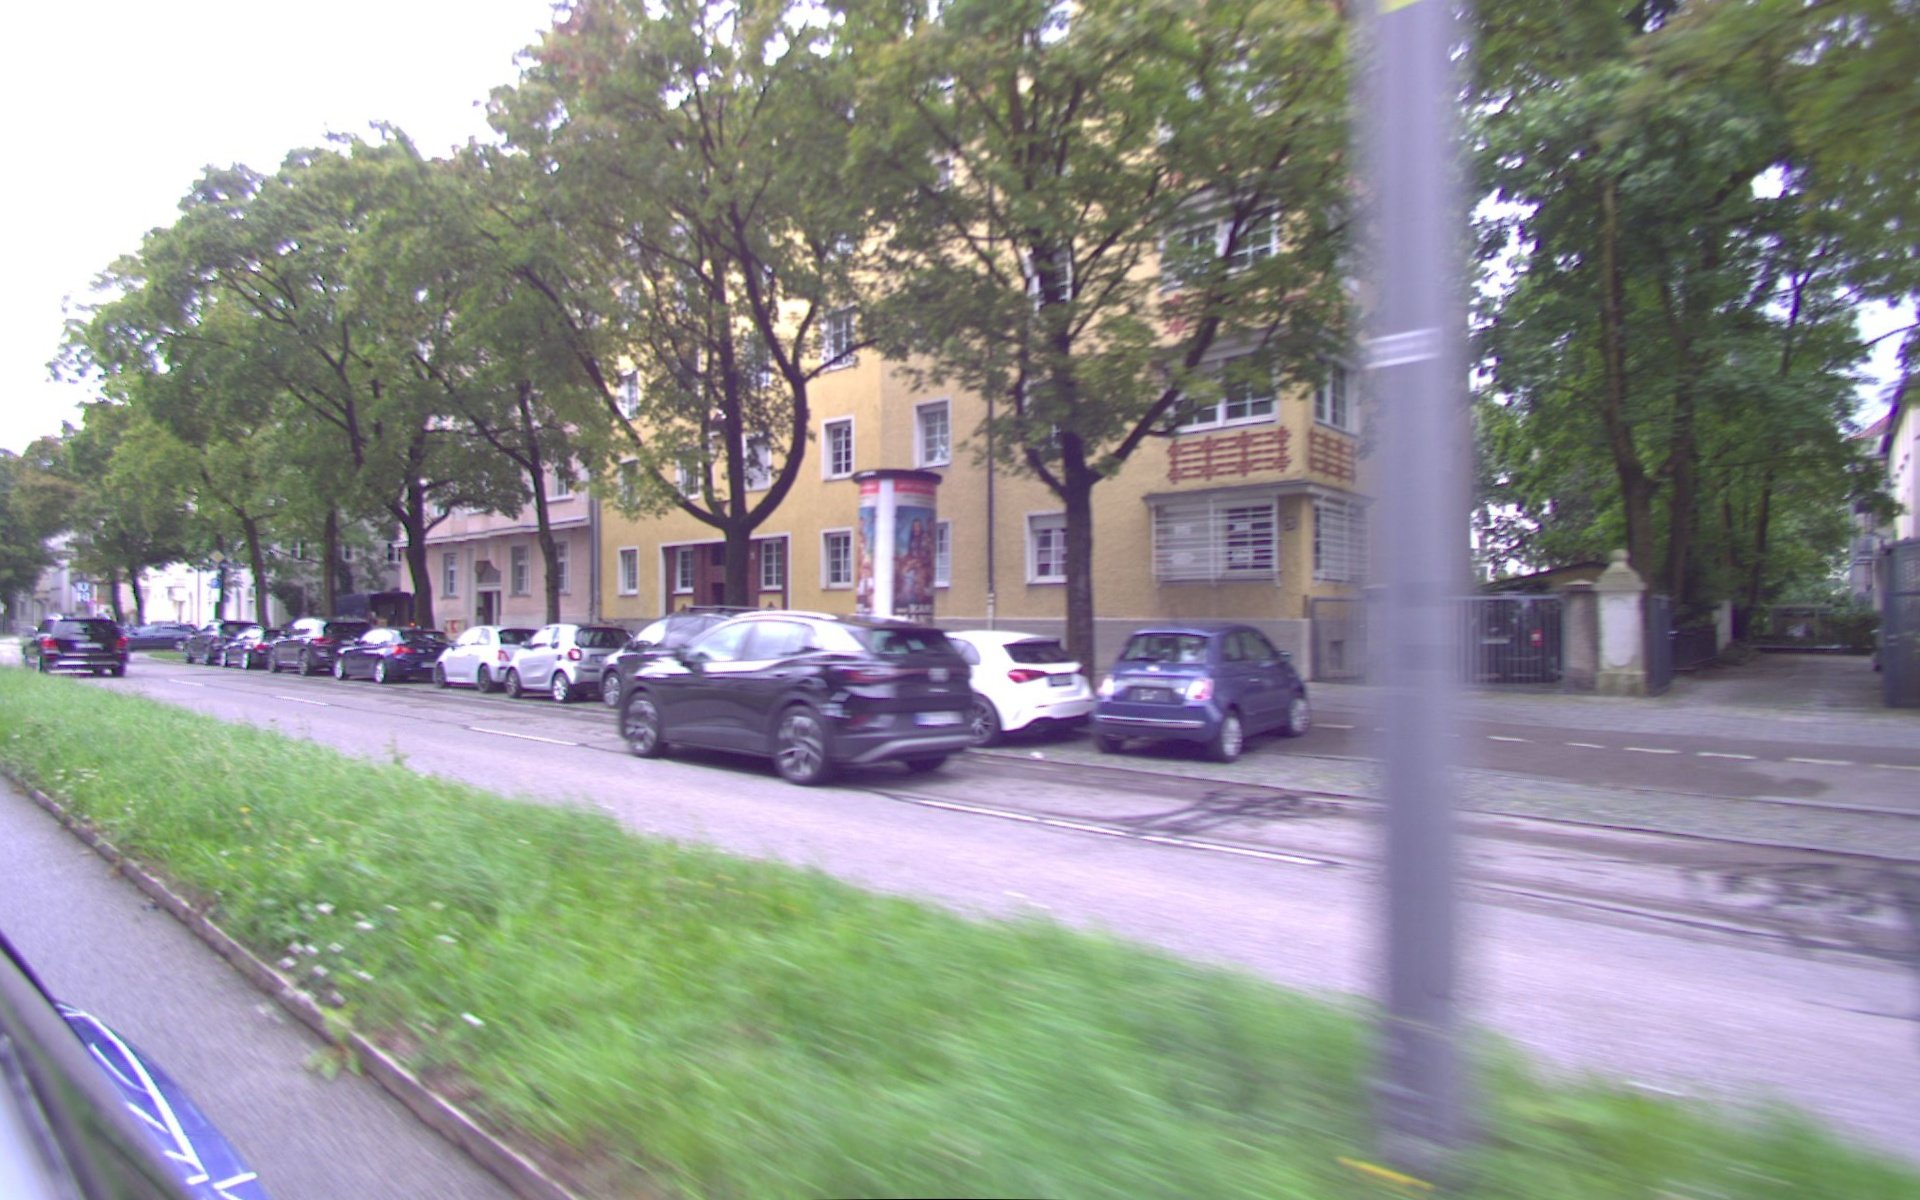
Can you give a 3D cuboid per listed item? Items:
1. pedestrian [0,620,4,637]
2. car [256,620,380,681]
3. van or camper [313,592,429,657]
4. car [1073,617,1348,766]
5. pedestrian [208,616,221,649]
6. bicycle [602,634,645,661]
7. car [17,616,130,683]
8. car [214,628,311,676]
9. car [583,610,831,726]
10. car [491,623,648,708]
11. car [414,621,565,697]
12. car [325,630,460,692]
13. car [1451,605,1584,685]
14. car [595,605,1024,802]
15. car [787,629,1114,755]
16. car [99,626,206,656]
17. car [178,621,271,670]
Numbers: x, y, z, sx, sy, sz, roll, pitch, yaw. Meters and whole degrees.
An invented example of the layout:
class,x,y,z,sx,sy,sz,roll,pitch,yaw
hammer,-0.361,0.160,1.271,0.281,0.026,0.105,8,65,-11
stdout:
class,x,y,z,sx,sy,sz,roll,pitch,yaw
pedestrian,-115.378,3.415,121.550,0.631,2.058,0.739,0,-1,-38
car,-19.066,1.433,29.958,4.768,1.658,1.859,-1,-1,41
van or camper,-25.520,1.050,43.706,6.848,2.599,2.321,-1,-1,41
car,3.147,0.960,12.205,1.731,1.475,3.850,-1,-1,40
pedestrian,-47.349,2.074,64.303,0.590,2.075,0.686,0,-2,-29
bicycle,-11.662,1.628,35.055,1.930,0.906,0.536,-1,-2,41
car,-24.433,1.332,27.830,4.367,1.692,1.751,-1,-3,41
car,-23.473,1.692,34.008,4.490,1.465,1.674,-1,-1,41
car,-4.486,1.070,17.472,4.765,1.741,1.791,-1,-2,41
car,-7.890,1.256,20.385,3.007,1.569,1.709,-1,-1,39
car,-10.898,1.294,23.334,4.055,1.573,1.708,-1,-1,41
car,-14.686,1.508,26.076,4.361,1.416,1.708,-1,-1,41
car,11.781,0.882,21.279,1.757,1.521,3.850,-1,-1,40
car,-1.727,0.929,10.494,4.619,1.597,1.855,-1,-4,42
car,-0.260,1.105,13.611,4.402,1.413,1.708,-1,-2,41
car,-40.798,2.057,51.241,3.931,1.386,1.868,0,-2,-27
car,-27.294,1.643,37.506,4.436,1.699,1.854,-1,-1,41
